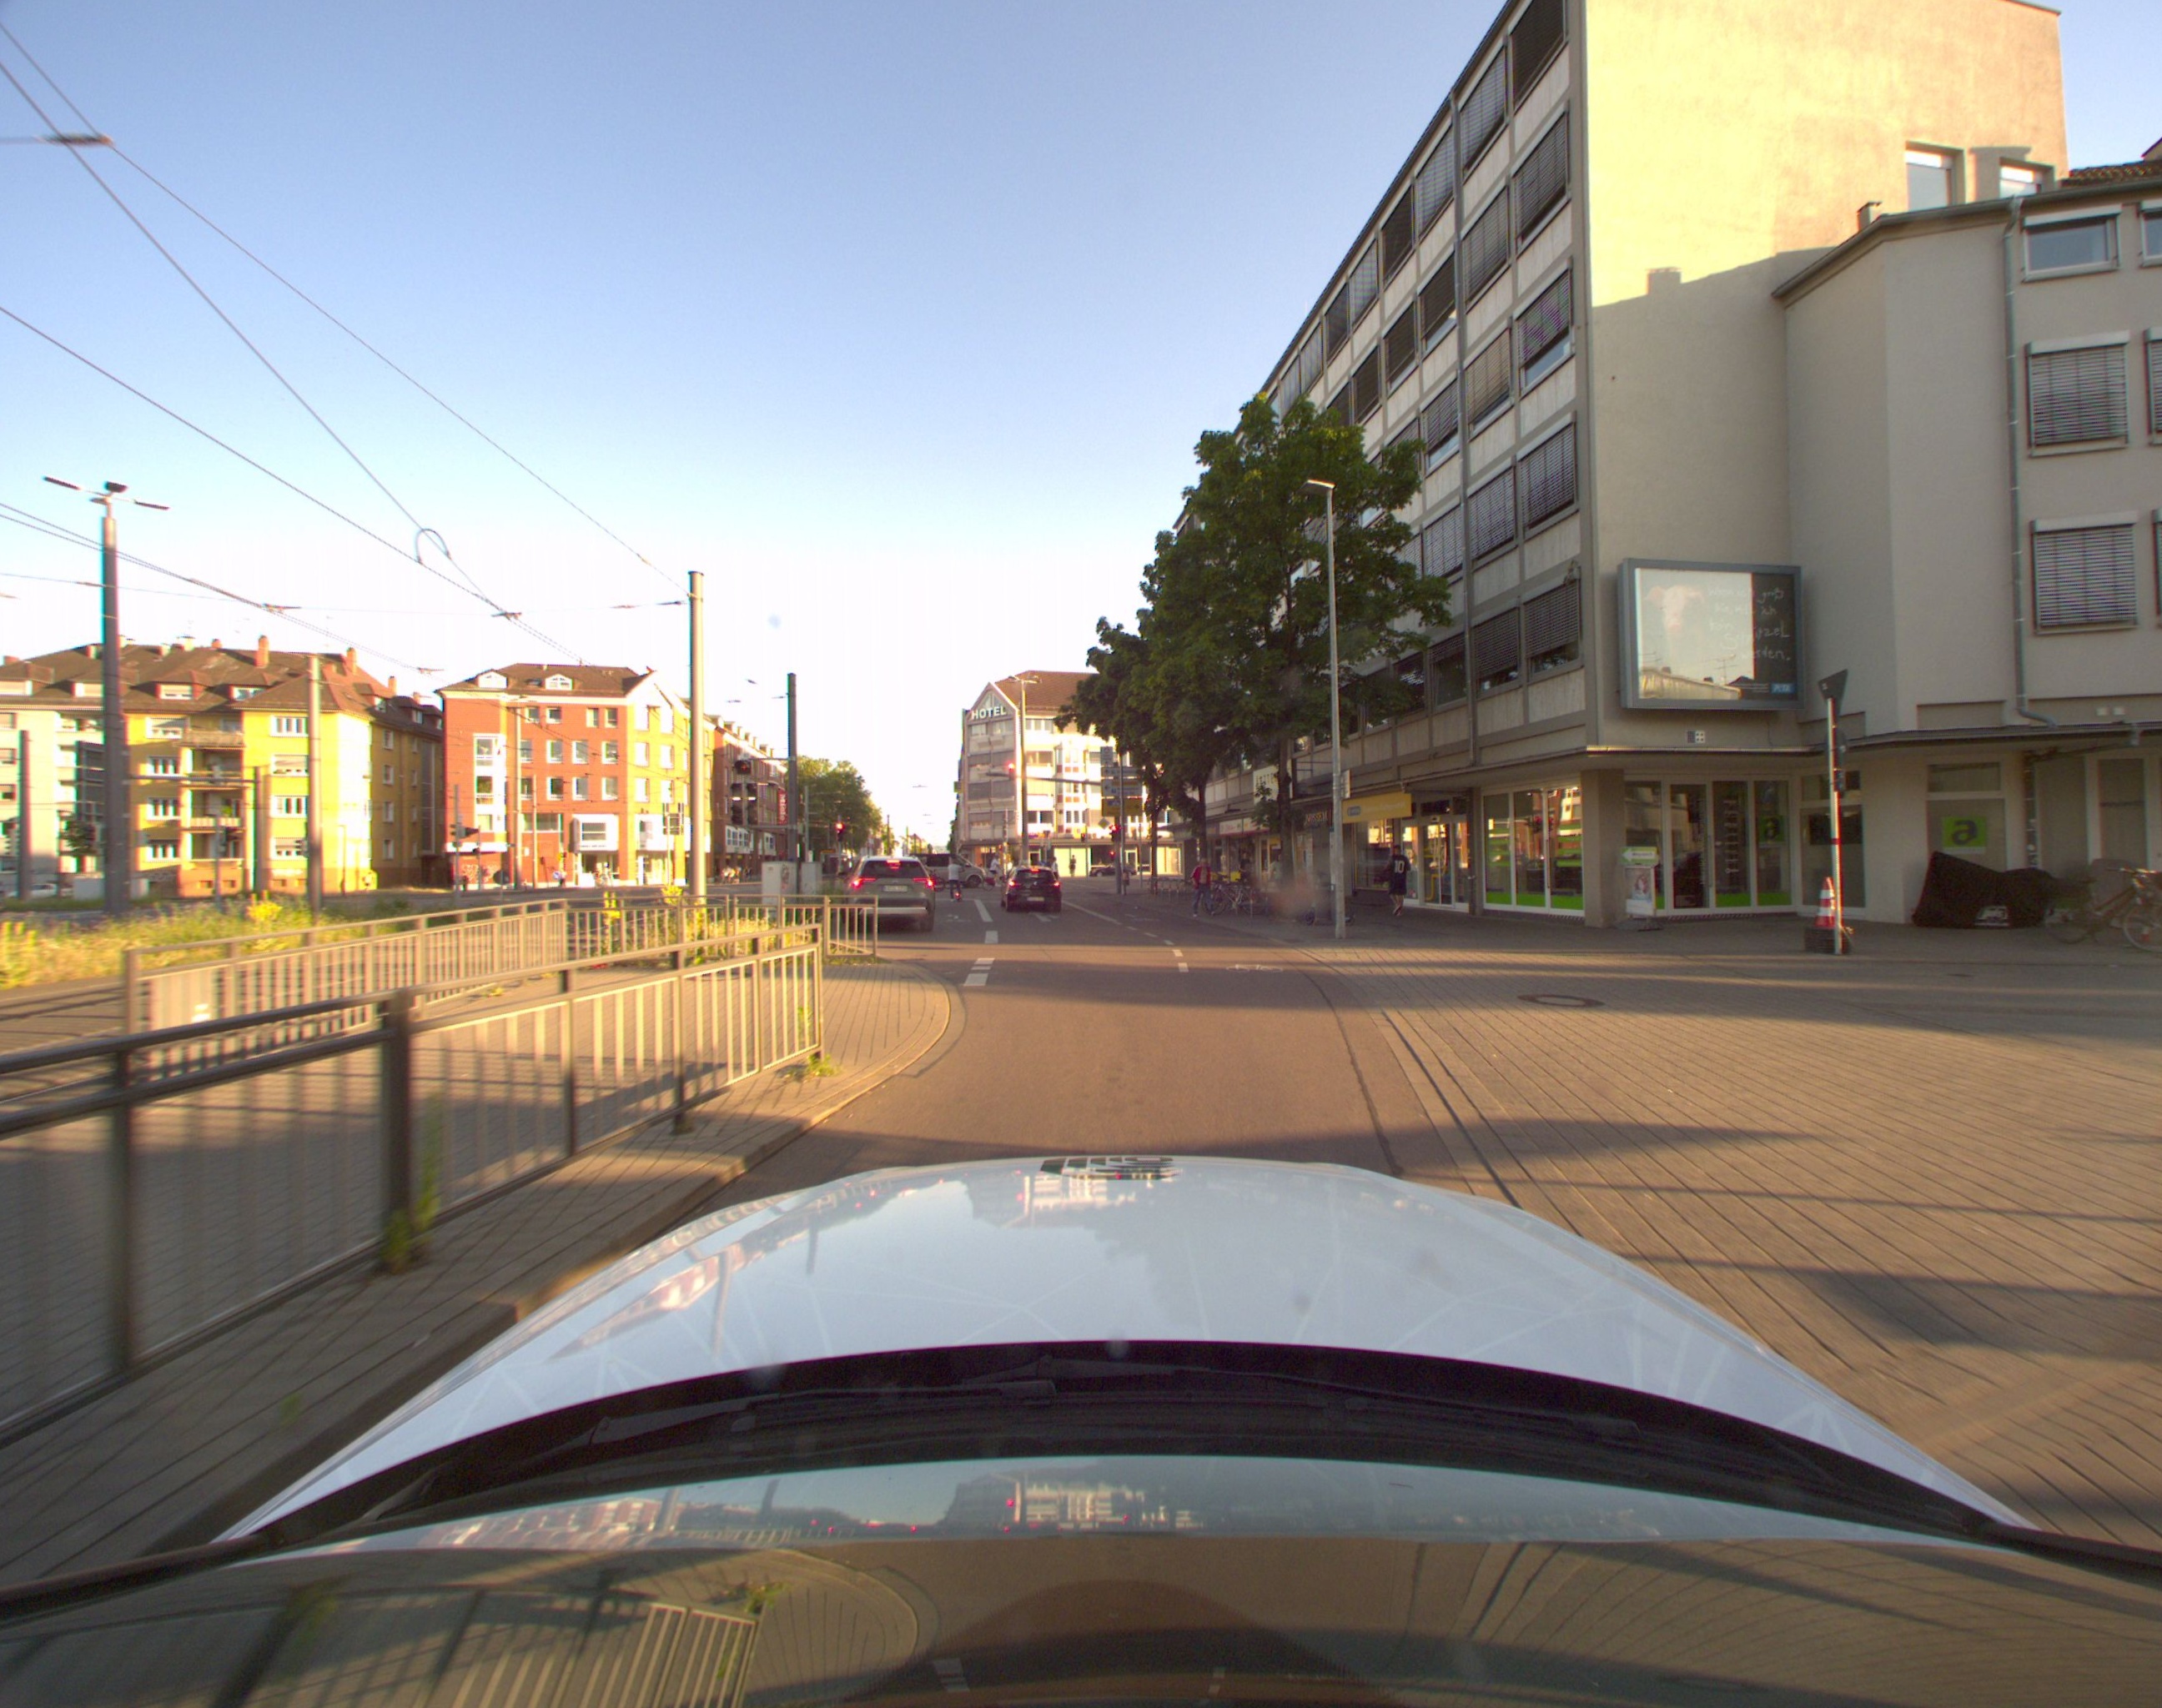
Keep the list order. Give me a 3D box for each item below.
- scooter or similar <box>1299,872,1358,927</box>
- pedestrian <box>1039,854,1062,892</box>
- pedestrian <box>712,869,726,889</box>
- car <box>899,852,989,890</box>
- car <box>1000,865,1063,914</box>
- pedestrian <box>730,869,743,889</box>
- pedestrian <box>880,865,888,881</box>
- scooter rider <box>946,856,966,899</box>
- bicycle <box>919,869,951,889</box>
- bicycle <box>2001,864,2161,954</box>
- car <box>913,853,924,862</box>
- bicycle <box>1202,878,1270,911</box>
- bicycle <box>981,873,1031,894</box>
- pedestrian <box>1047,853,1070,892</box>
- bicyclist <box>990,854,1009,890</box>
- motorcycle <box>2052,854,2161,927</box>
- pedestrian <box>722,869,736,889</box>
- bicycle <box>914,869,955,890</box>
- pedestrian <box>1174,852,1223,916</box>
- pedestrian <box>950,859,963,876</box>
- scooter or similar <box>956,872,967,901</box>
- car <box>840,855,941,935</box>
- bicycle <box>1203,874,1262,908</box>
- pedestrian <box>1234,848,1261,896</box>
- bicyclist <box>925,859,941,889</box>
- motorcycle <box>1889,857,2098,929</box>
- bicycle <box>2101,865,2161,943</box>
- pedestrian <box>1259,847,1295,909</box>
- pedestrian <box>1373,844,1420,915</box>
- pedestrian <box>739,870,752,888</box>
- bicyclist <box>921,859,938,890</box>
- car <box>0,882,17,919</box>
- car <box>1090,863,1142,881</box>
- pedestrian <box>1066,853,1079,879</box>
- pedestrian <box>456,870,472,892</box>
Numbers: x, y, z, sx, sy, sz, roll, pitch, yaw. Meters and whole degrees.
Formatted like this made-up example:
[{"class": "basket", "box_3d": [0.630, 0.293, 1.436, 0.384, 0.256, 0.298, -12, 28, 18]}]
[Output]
[{"class": "scooter or similar", "box_3d": [5.579, 1.022, 18.365, 1.205, 1.218, 0.296, -3, -3, 36]}, {"class": "pedestrian", "box_3d": [-1.481, 0.922, 39.311, 0.994, 1.830, 0.726, 1, -2, -10]}, {"class": "pedestrian", "box_3d": [-37.395, 2.584, 84.082, 1.094, 2.014, 0.905, 1, -2, -12]}, {"class": "car", "box_3d": [-7.751, 0.939, 46.149, 4.705, 2.014, 1.984, -1, -1, -25]}, {"class": "car", "box_3d": [-1.692, 1.095, 26.741, 1.763, 1.440, 3.989, 0, -1, -8]}, {"class": "pedestrian", "box_3d": [-35.647, 2.612, 84.274, 0.977, 2.014, 0.905, 1, -2, -12]}, {"class": "pedestrian", "box_3d": [-20.919, 1.988, 86.547, 0.700, 1.664, 0.806, 1, -2, -8]}, {"class": "scooter rider", "box_3d": [-4.778, 0.903, 31.231, 0.660, 1.647, 0.661, 1, -2, -1]}, {"class": "bicycle", "box_3d": [-7.582, 1.285, 42.321, 1.615, 1.028, 0.351, -1, -1, -17]}, {"class": "bicycle", "box_3d": [14.573, 0.743, 11.740, 0.580, 1.112, 2.011, -1, 1, 8]}, {"class": "car", "box_3d": [-33.754, 0.770, 169.665, 1.992, 1.901, 3.988, 1, -1, -8]}, {"class": "bicycle", "box_3d": [4.314, 1.124, 22.729, 1.813, 0.891, 0.414, 1, -2, -3]}, {"class": "bicycle", "box_3d": [-4.008, 1.582, 43.526, 2.645, 1.100, 0.433, 1, -2, -16]}, {"class": "pedestrian", "box_3d": [-1.069, 0.889, 38.595, 0.994, 1.830, 0.726, 1, -2, -9]}, {"class": "bicyclist", "box_3d": [-4.359, 0.958, 43.442, 0.862, 1.878, 0.643, 1, -2, -16]}, {"class": "motorcycle", "box_3d": [17.619, 0.590, 13.300, 2.251, 1.158, 0.742, -1, -1, 13]}, {"class": "pedestrian", "box_3d": [-36.921, 2.627, 85.473, 1.094, 2.014, 0.905, 1, -2, -12]}, {"class": "bicycle", "box_3d": [-7.451, 1.307, 41.522, 2.040, 1.028, 0.415, 0, -1, -15]}, {"class": "pedestrian", "box_3d": [3.162, 0.803, 21.948, 0.828, 1.685, 1.038, 1, -2, -29]}, {"class": "pedestrian", "box_3d": [-12.520, 1.336, 82.142, 0.841, 1.726, 0.940, -1, -2, 40]}, {"class": "scooter or similar", "box_3d": [-4.579, 1.220, 31.285, 0.279, 1.091, 1.255, 1, -1, -3]}, {"class": "car", "box_3d": [-4.512, 0.859, 18.846, 1.841, 1.636, 4.063, 0, -1, -20]}, {"class": "bicycle", "box_3d": [4.404, 1.078, 23.682, 1.653, 0.974, 0.386, 1, -2, -3]}, {"class": "pedestrian", "box_3d": [6.273, 0.673, 30.685, 0.746, 1.779, 0.798, 1, -2, -8]}, {"class": "bicyclist", "box_3d": [-7.685, 1.029, 42.279, 0.705, 1.511, 0.547, -3, 0, -15]}, {"class": "motorcycle", "box_3d": [15.320, 0.654, 13.749, 2.271, 1.168, 0.813, -1, -1, 13]}, {"class": "bicycle", "box_3d": [15.824, 0.719, 11.499, 0.623, 1.113, 1.924, 0, -1, 9]}, {"class": "pedestrian", "box_3d": [5.795, 0.705, 24.162, 0.746, 1.779, 0.970, 1, -2, -8]}, {"class": "pedestrian", "box_3d": [7.753, 0.622, 20.029, 0.746, 1.684, 0.892, 1, -2, -8]}, {"class": "pedestrian", "box_3d": [-36.693, 2.724, 89.007, 1.094, 2.014, 1.158, 1, -2, -12]}, {"class": "bicyclist", "box_3d": [-7.721, 1.039, 41.469, 0.705, 1.511, 0.547, -3, 0, -16]}, {"class": "car", "box_3d": [-48.112, 1.978, 33.843, 4.348, 1.551, 1.988, 0, -1, -17]}, {"class": "car", "box_3d": [3.231, 1.659, 75.454, 4.556, 1.620, 1.989, 0, -1, -13]}, {"class": "pedestrian", "box_3d": [-0.578, 0.825, 55.641, 0.745, 1.779, 0.798, 1, -2, -7]}, {"class": "pedestrian", "box_3d": [-48.080, 2.094, 63.488, 0.683, 1.743, 0.670, -1, -2, 14]}]
